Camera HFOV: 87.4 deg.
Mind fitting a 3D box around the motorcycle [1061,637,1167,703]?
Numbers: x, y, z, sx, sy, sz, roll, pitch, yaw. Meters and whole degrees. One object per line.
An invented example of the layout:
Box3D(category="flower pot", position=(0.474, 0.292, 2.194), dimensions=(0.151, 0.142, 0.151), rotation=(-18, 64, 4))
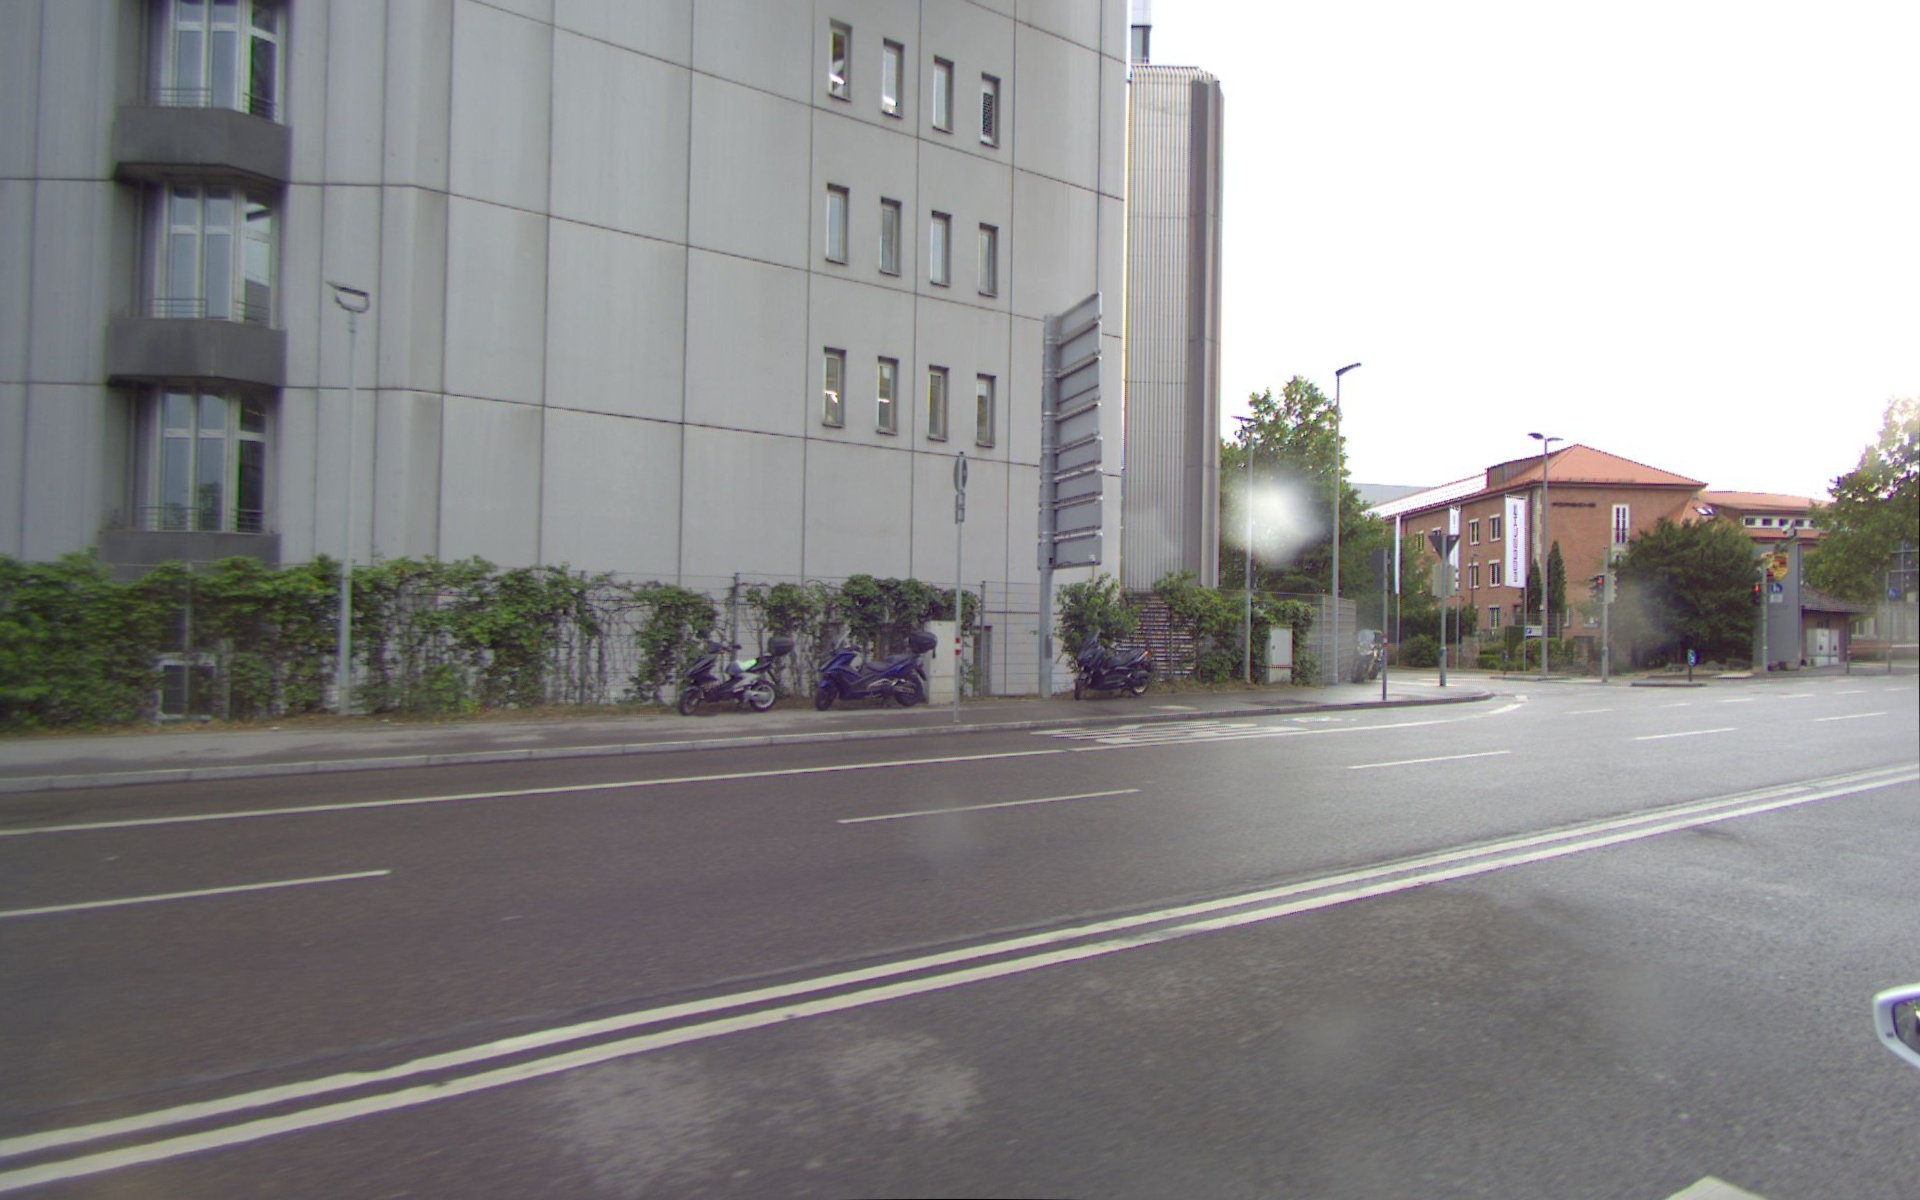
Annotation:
Box3D(category="motorcycle", position=(3.151, 1.397, 20.441), dimensions=(2.132, 1.263, 0.781), rotation=(1, -2, -31))

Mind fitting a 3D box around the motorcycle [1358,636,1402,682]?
Box3D(category="motorcycle", position=(13.004, 1.801, 31.028), dimensions=(1.008, 1.355, 2.771), rotation=(-1, -2, 28))

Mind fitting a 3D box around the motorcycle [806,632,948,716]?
Box3D(category="motorcycle", position=(-1.419, 1.249, 17.408), dimensions=(2.342, 1.365, 0.781), rotation=(1, -2, -31))

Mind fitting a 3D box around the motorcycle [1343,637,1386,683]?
Box3D(category="motorcycle", position=(11.530, 1.666, 28.606), dimensions=(0.759, 1.234, 2.504), rotation=(0, -2, 31))

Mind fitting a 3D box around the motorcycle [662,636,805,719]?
Box3D(category="motorcycle", position=(-3.659, 1.230, 16.318), dimensions=(2.132, 1.267, 0.781), rotation=(1, -2, -31))
